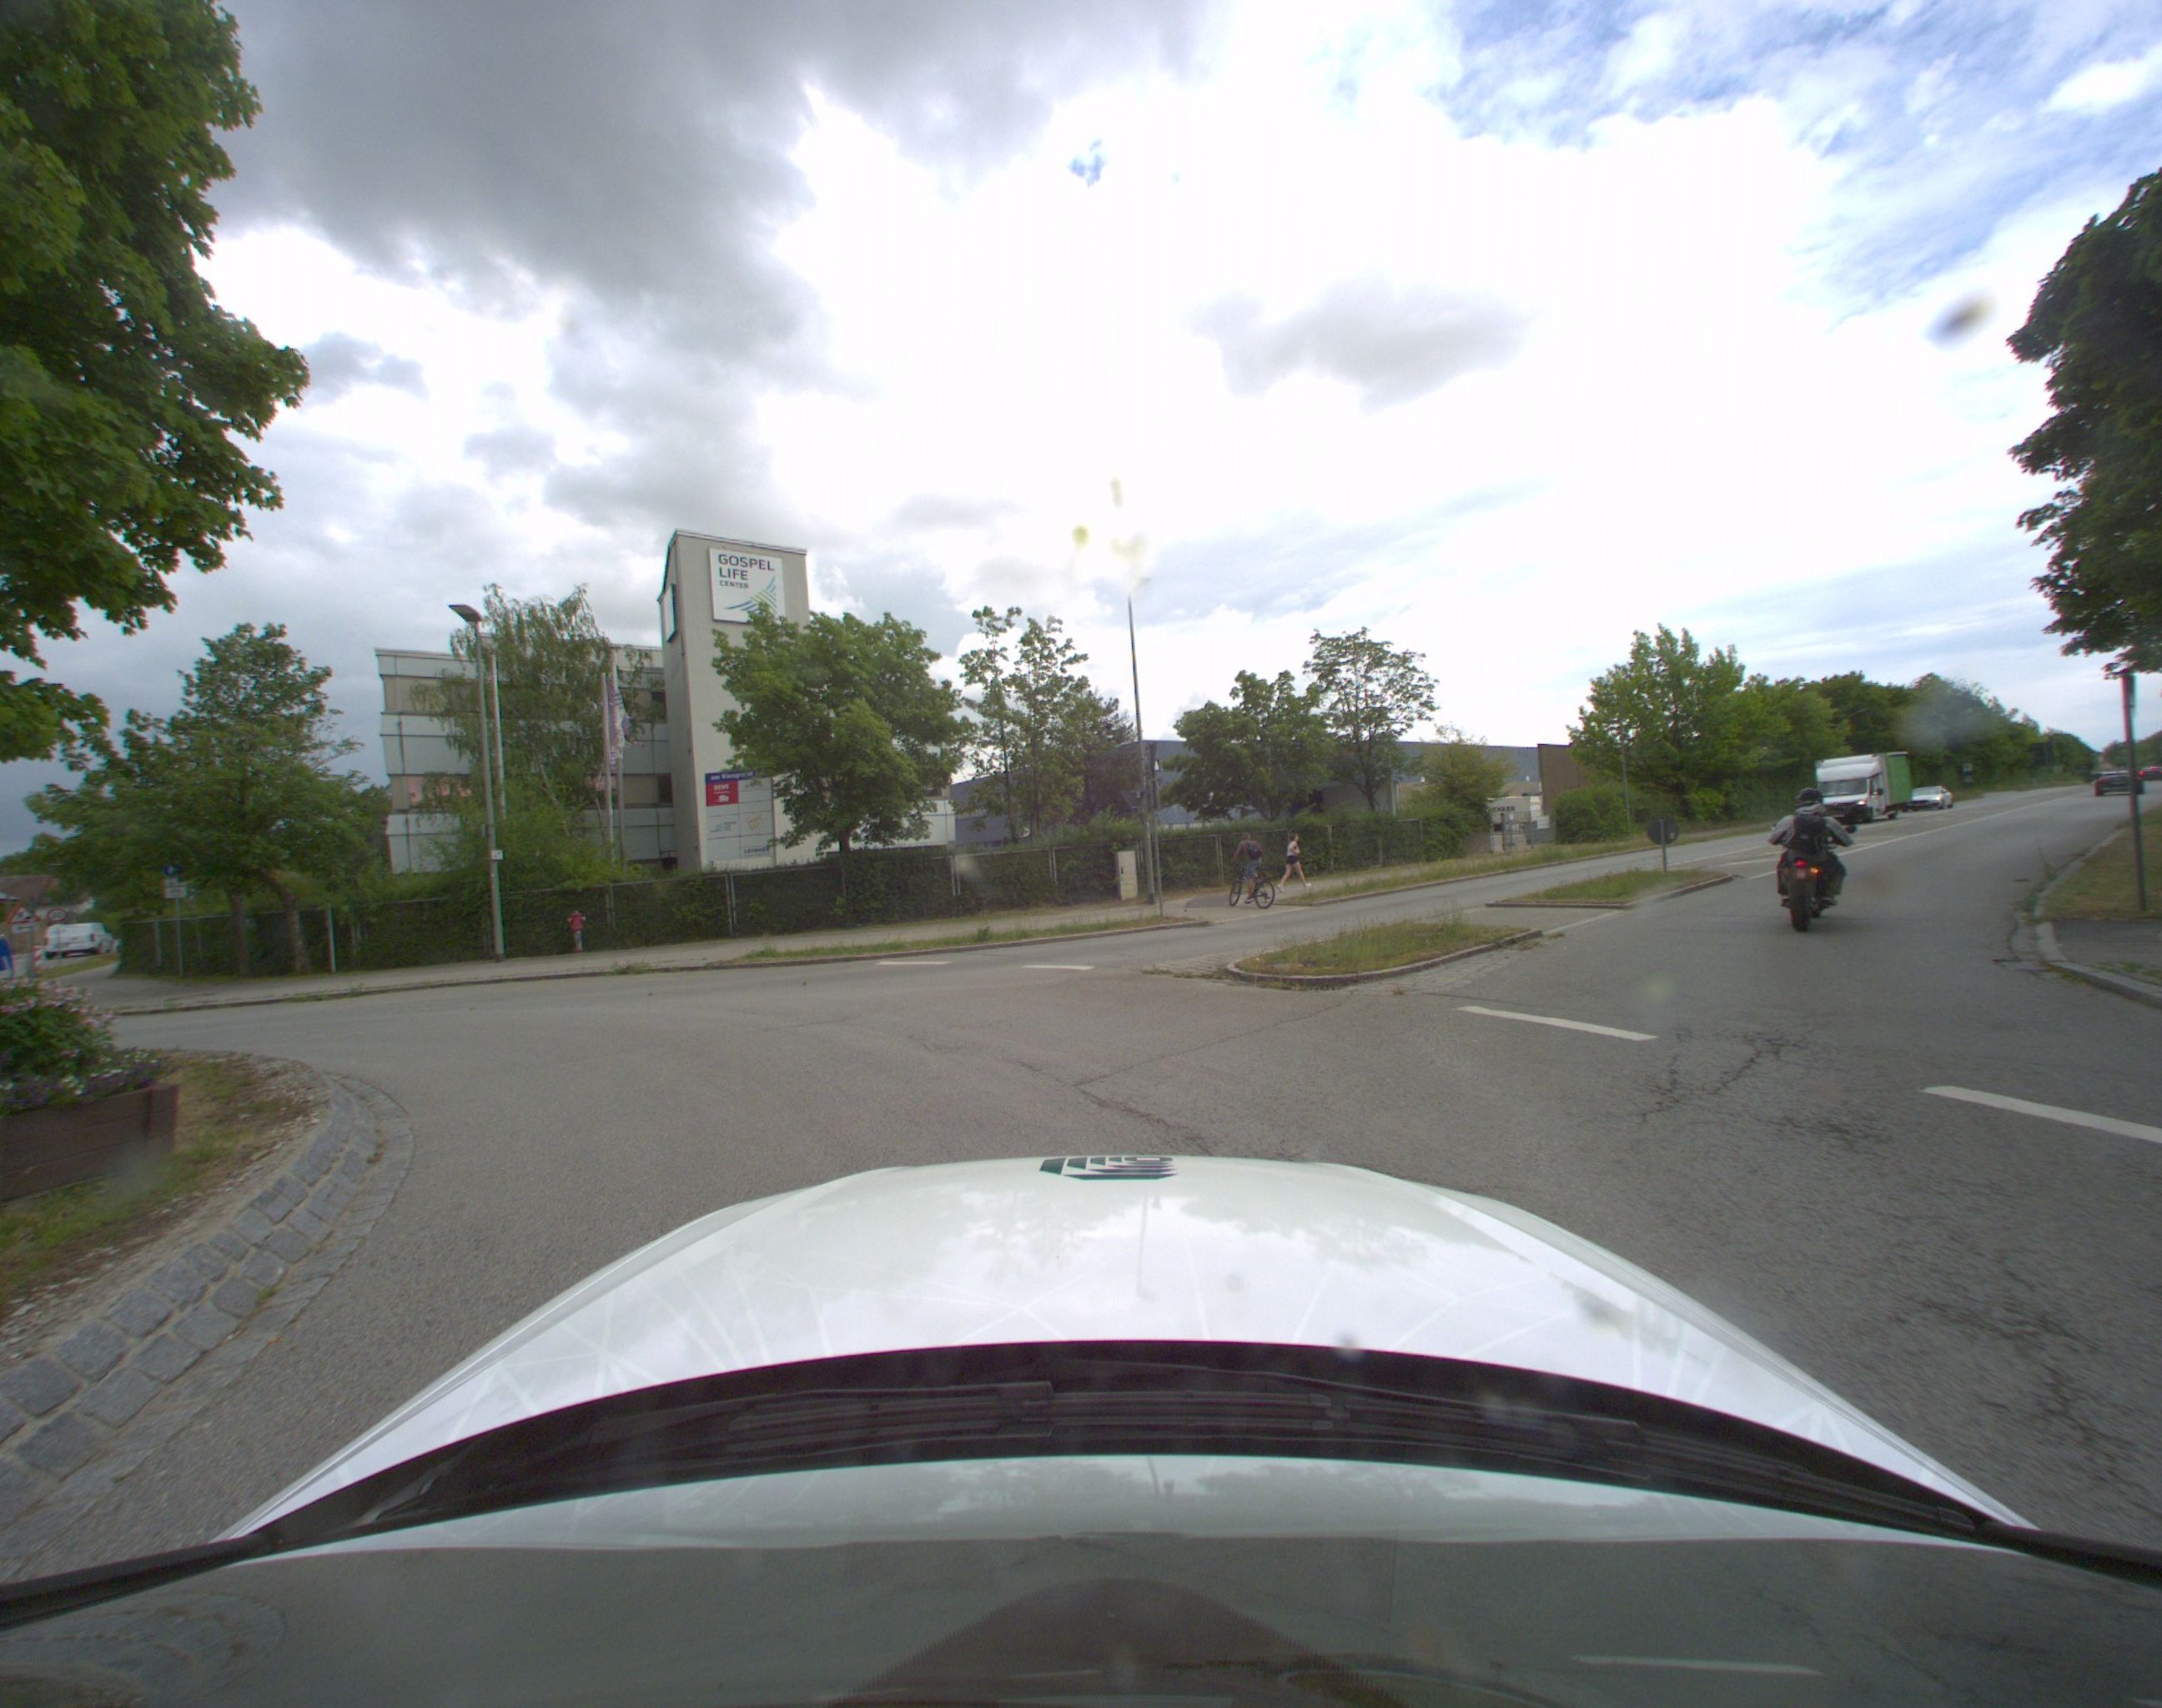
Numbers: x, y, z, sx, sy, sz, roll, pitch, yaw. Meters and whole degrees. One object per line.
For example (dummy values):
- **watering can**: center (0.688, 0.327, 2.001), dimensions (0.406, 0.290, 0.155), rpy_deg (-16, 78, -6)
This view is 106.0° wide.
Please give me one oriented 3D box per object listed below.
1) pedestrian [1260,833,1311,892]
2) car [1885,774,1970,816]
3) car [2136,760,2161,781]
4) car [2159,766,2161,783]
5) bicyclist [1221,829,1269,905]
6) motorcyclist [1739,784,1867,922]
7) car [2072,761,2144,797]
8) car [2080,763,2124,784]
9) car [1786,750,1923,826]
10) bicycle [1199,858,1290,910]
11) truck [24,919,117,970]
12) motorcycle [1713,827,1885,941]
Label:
- **pedestrian**: center (5.696, 0.233, 22.689), dimensions (1.048, 1.544, 0.780), rpy_deg (-5, 1, -30)
- **car**: center (52.191, -3.649, 50.165), dimensions (6.025, 2.173, 2.659), rpy_deg (-5, 0, -35)
- **car**: center (114.175, -8.935, 86.252), dimensions (5.735, 1.947, 2.495), rpy_deg (-5, 0, -34)
- **car**: center (130.307, -9.644, 96.623), dimensions (5.735, 1.947, 2.495), rpy_deg (-5, 0, -34)
- **bicyclist**: center (3.893, 0.296, 19.363), dimensions (0.660, 1.722, 0.911), rpy_deg (-4, 2, -25)
- **motorcyclist**: center (9.253, -0.027, 10.435), dimensions (1.195, 1.623, 0.855), rpy_deg (-5, 0, -33)
- **car**: center (65.028, -4.770, 51.543), dimensions (5.737, 1.947, 2.493), rpy_deg (-5, 0, -36)
- **car**: center (114.175, -8.977, 91.049), dimensions (5.735, 1.947, 2.495), rpy_deg (-5, 0, -34)
- **car**: center (37.902, -3.236, 39.827), dimensions (7.664, 3.204, 3.147), rpy_deg (-5, 0, -34)
- **bicycle**: center (3.849, 0.675, 19.444), dimensions (0.772, 1.089, 2.486), rpy_deg (-4, 2, -25)
- **truck**: center (-60.207, 5.317, 48.653), dimensions (2.302, 2.499, 5.223), rpy_deg (-5, 1, -39)
- **motorcycle**: center (9.153, 0.331, 10.346), dimensions (2.630, 1.158, 0.890), rpy_deg (-5, 1, -32)
